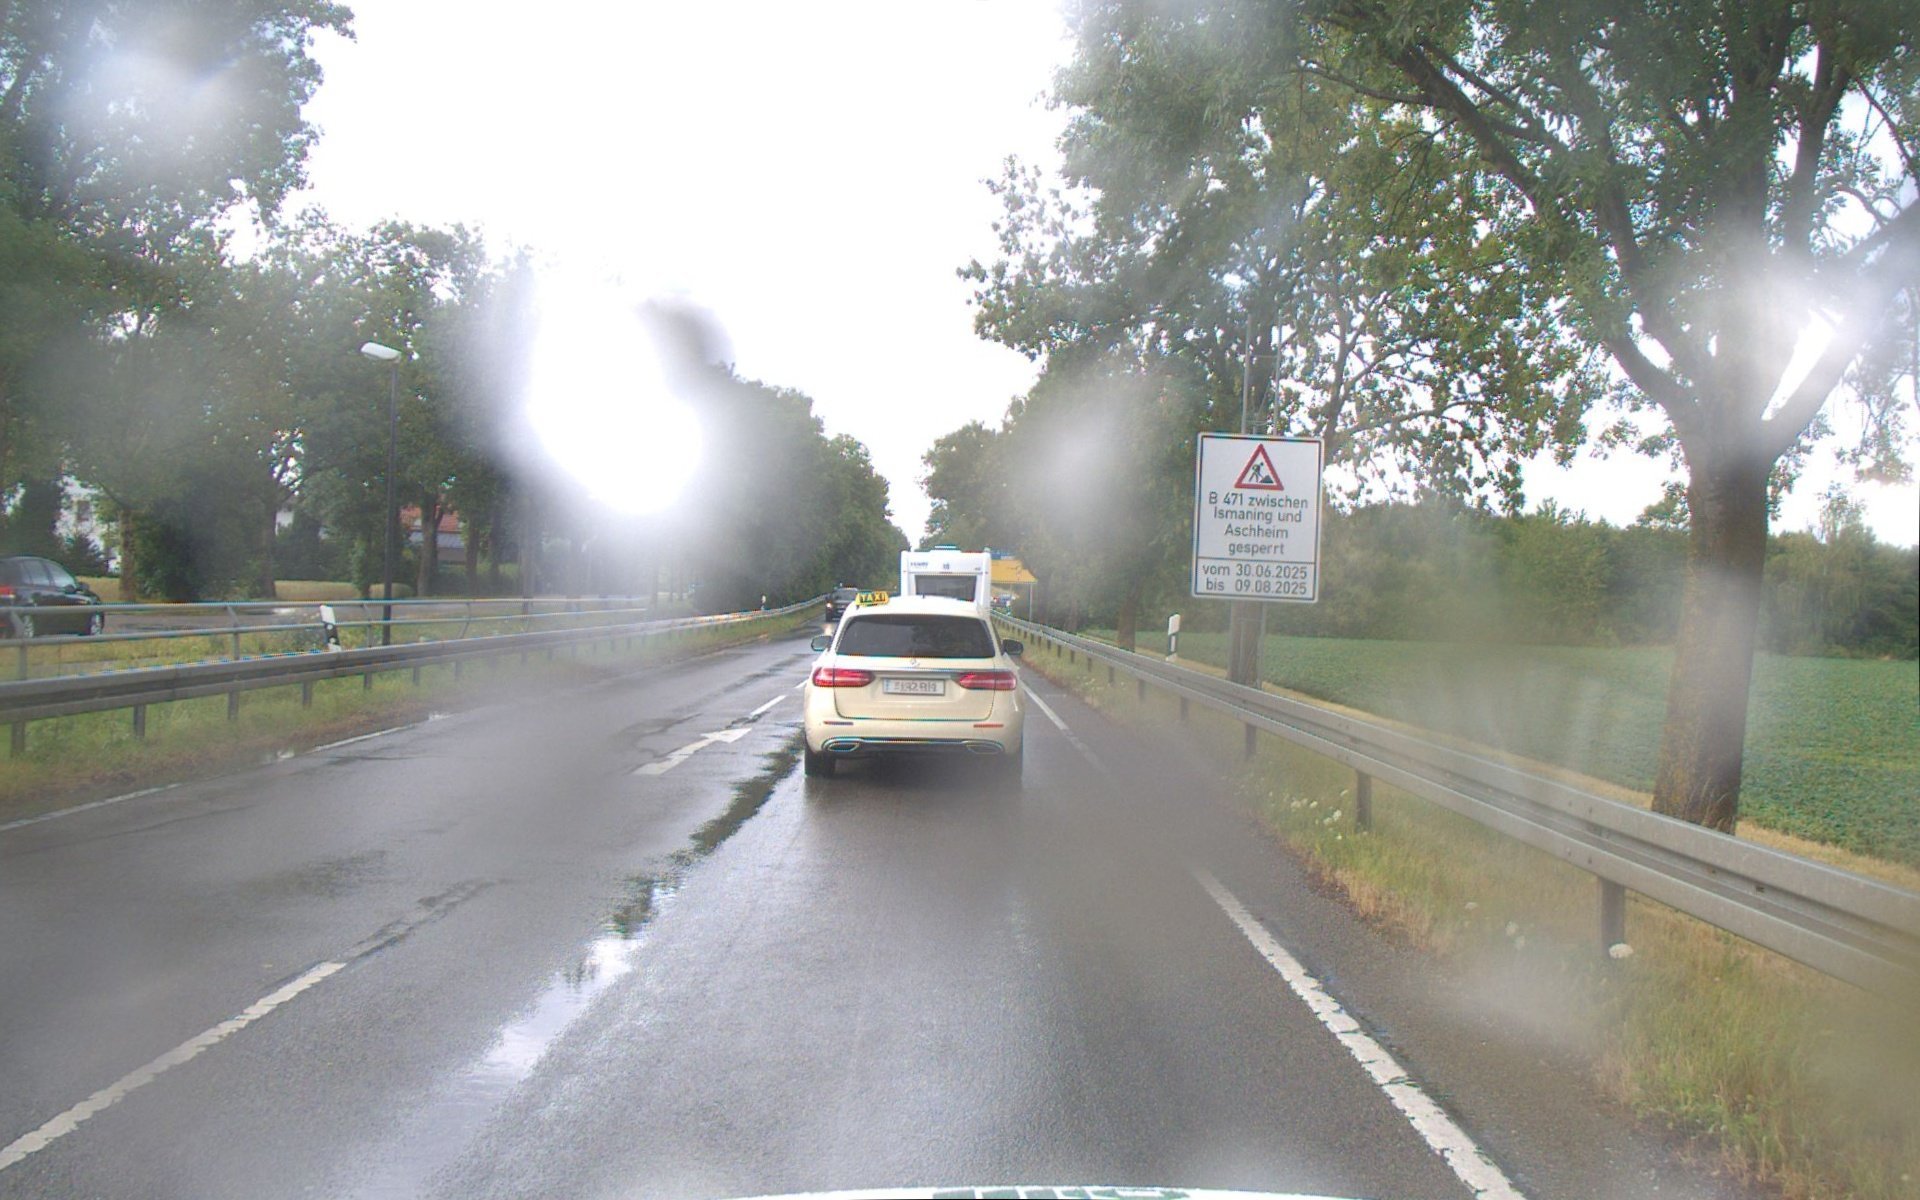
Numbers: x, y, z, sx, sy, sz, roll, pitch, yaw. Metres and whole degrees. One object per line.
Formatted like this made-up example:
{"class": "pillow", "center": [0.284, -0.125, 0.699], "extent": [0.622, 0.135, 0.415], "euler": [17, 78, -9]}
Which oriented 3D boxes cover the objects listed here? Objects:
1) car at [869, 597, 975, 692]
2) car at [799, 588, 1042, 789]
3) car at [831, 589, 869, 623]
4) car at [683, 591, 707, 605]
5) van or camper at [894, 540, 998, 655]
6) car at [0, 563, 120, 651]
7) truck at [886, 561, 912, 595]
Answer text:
{"class": "car", "center": [-0.571, 0.687, 27.654], "extent": [1.630, 1.456, 4.000], "euler": [0, 0, 0]}
{"class": "car", "center": [-0.283, 0.662, 14.489], "extent": [1.826, 1.502, 4.000], "euler": [0, 0, 0]}
{"class": "car", "center": [-5.562, 0.290, 83.792], "extent": [1.728, 1.647, 3.999], "euler": [0, 0, -1]}
{"class": "car", "center": [-27.900, -0.225, 174.112], "extent": [1.749, 1.440, 4.000], "euler": [2, 0, 0]}
{"class": "van or camper", "center": [-0.316, -0.070, 42.786], "extent": [2.438, 2.732, 5.700], "euler": [1, 0, 0]}
{"class": "car", "center": [-15.526, 0.083, 27.614], "extent": [1.258, 1.354, 3.894], "euler": [2, 0, -5]}
{"class": "truck", "center": [-6.314, -2.259, 172.116], "extent": [2.524, 3.512, 9.552], "euler": [0, 0, -2]}
